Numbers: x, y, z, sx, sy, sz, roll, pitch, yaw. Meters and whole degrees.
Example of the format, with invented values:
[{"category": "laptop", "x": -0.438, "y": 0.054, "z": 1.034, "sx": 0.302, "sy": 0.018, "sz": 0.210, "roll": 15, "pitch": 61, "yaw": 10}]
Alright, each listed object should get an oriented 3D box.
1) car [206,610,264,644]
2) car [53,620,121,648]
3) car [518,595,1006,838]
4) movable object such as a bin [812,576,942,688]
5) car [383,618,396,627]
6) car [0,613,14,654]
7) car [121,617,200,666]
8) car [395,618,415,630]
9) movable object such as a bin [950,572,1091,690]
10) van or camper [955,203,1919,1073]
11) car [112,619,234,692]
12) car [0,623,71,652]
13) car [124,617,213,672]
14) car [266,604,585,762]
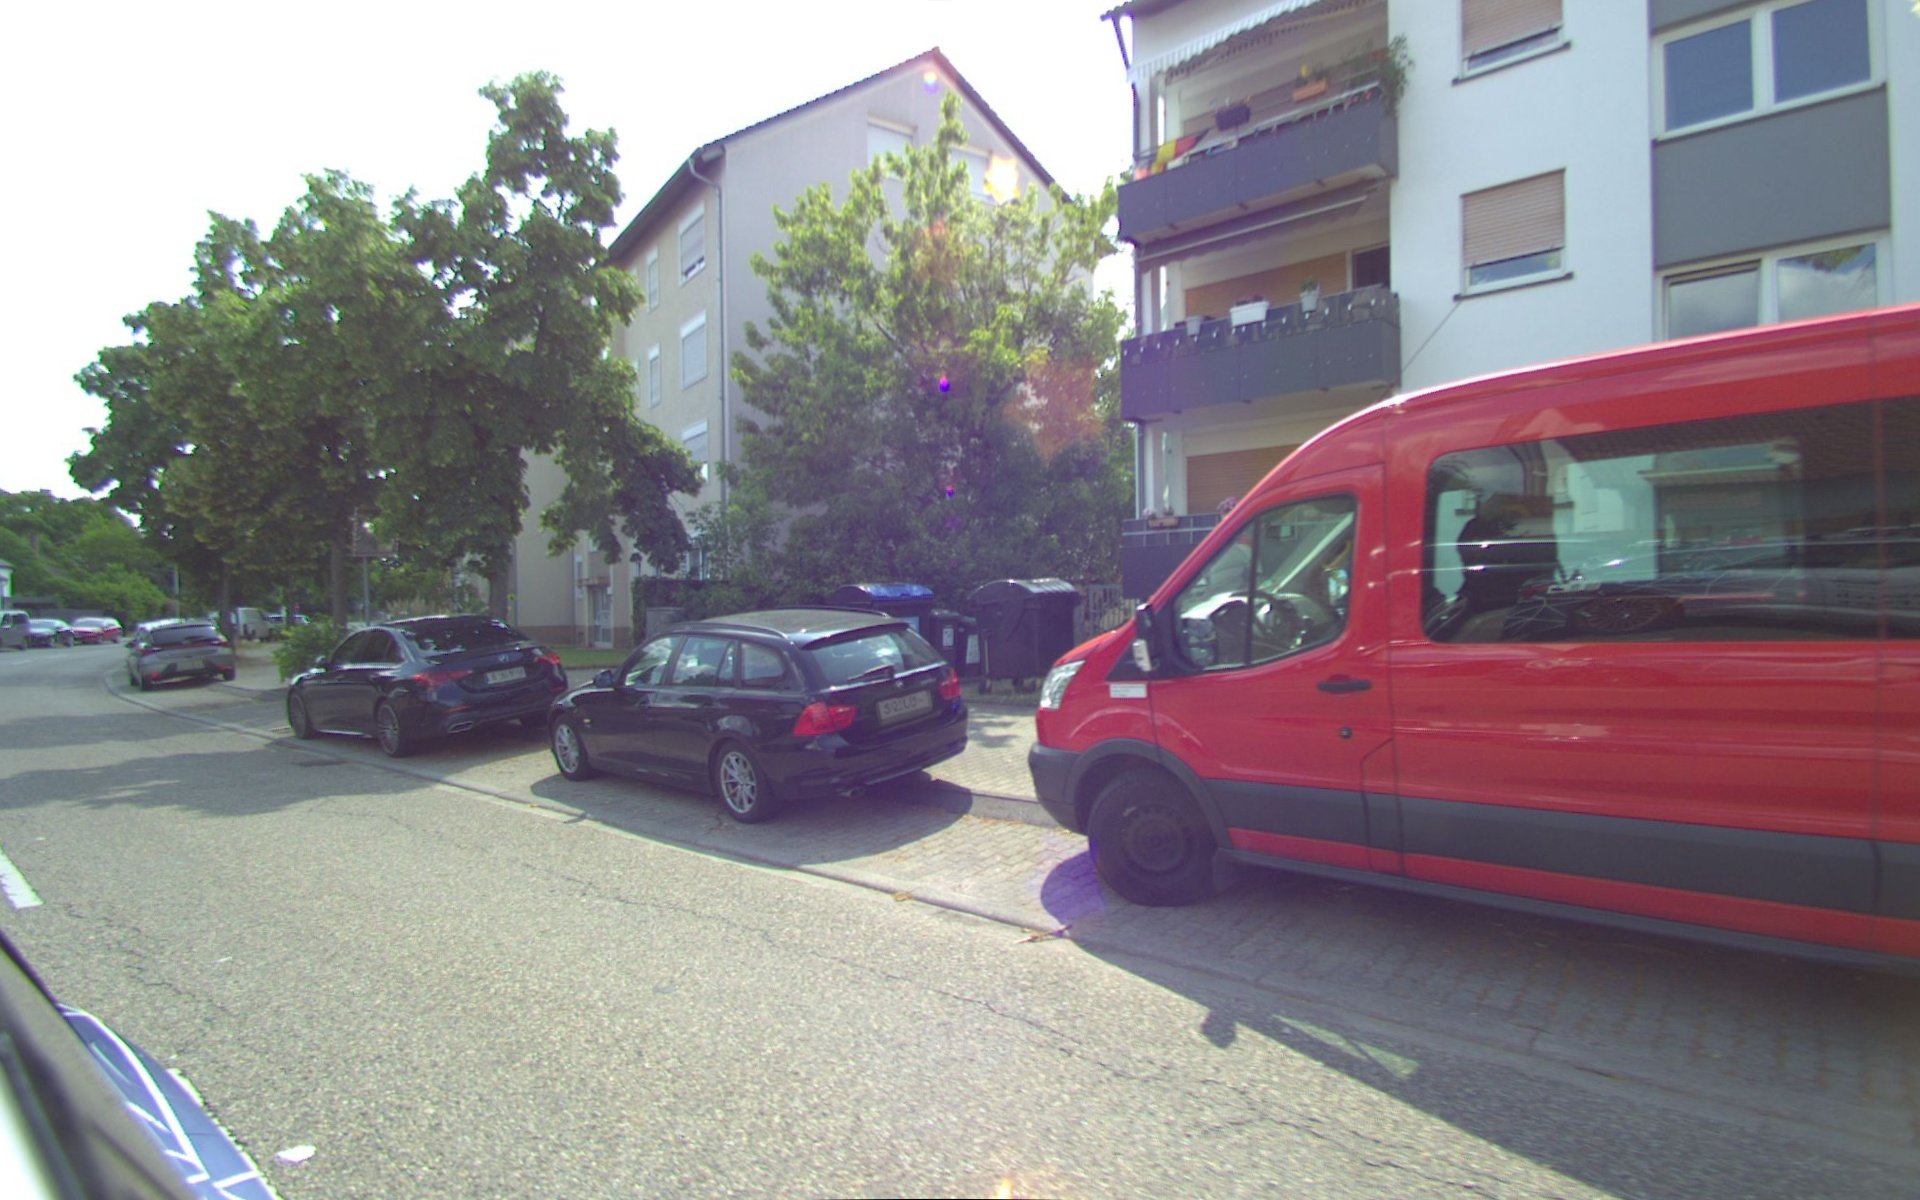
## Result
[{"category": "car", "x": -39.119, "y": 1.467, "z": 54.723, "sx": 1.792, "sy": 1.737, "sz": 3.694, "roll": 0, "pitch": -1, "yaw": -23}, {"category": "car", "x": -50.045, "y": 1.938, "z": 58.090, "sx": 1.756, "sy": 1.497, "sz": 4.295, "roll": 3, "pitch": -3, "yaw": -25}, {"category": "car", "x": -1.872, "y": 0.768, "z": 8.469, "sx": 4.464, "sy": 1.447, "sz": 1.670, "roll": -1, "pitch": 2, "yaw": 43}, {"category": "movable object such as a bin", "x": -1.185, "y": 0.439, "z": 14.492, "sx": 1.303, "sy": 1.497, "sz": 1.284, "roll": -2, "pitch": -1, "yaw": 35}, {"category": "car", "x": -96.942, "y": 3.764, "z": 171.962, "sx": 1.756, "sy": 1.453, "sz": 3.979, "roll": 0, "pitch": -1, "yaw": -27}, {"category": "car", "x": -44.752, "y": 1.518, "z": 45.985, "sx": 1.811, "sy": 1.880, "sz": 4.292, "roll": 3, "pitch": -3, "yaw": -34}, {"category": "car", "x": -28.467, "y": 1.470, "z": 35.983, "sx": 1.734, "sy": 1.499, "sz": 3.684, "roll": -6, "pitch": 2, "yaw": -44}, {"category": "car", "x": -69.710, "y": 2.991, "z": 127.232, "sx": 1.756, "sy": 1.453, "sz": 3.979, "roll": -1, "pitch": -1, "yaw": -22}, {"category": "movable object such as a bin", "x": 0.782, "y": 0.381, "z": 12.945, "sx": 1.288, "sy": 1.396, "sz": 1.284, "roll": -2, "pitch": -1, "yaw": 35}, {"category": "van or camper", "x": 3.038, "y": 0.090, "z": 4.224, "sx": 6.221, "sy": 2.568, "sz": 2.126, "roll": -2, "pitch": 2, "yaw": 42}, {"category": "car", "x": -18.543, "y": 1.242, "z": 23.785, "sx": 1.734, "sy": 1.429, "sz": 4.003, "roll": -6, "pitch": 3, "yaw": -44}, {"category": "car", "x": -47.641, "y": 1.910, "z": 52.076, "sx": 1.814, "sy": 1.429, "sz": 3.901, "roll": 0, "pitch": -1, "yaw": -25}, {"category": "car", "x": -25.223, "y": 1.398, "z": 32.219, "sx": 1.734, "sy": 1.499, "sz": 3.684, "roll": -6, "pitch": 2, "yaw": -44}, {"category": "car", "x": -6.584, "y": 0.890, "z": 12.220, "sx": 4.627, "sy": 1.488, "sz": 1.714, "roll": -2, "pitch": 2, "yaw": 40}]
